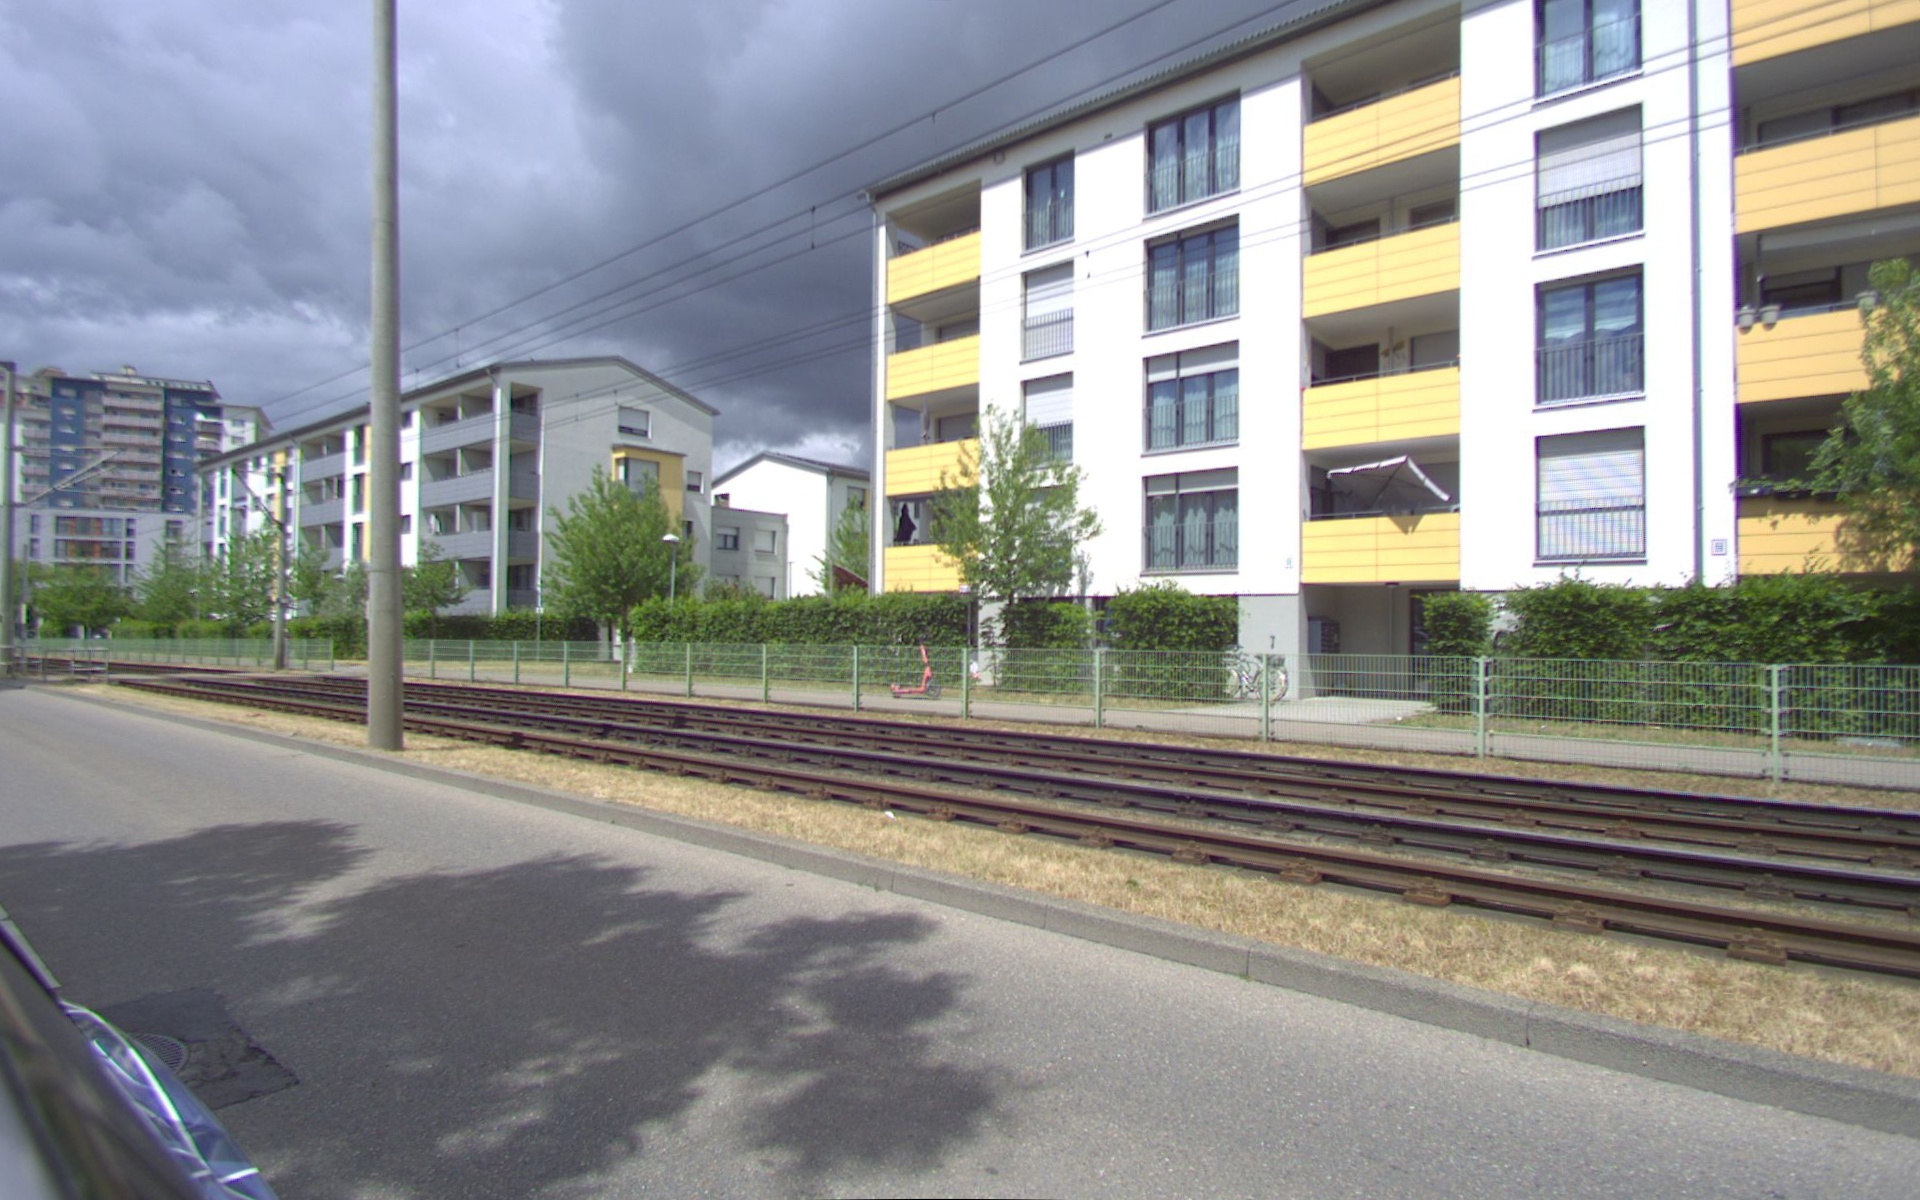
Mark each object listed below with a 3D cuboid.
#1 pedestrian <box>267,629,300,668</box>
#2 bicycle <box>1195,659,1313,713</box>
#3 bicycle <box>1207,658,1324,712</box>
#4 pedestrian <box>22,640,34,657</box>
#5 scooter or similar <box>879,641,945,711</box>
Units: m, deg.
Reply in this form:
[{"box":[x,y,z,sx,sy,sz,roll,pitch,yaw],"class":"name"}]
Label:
[{"box":[-26.659,1.899,39.886,0.994,1.494,0.788,-2,-3,38],"class":"pedestrian"},{"box":[5.763,1.670,19.938,2.212,0.987,0.549,-2,-3,42],"class":"bicycle"},{"box":[6.110,1.679,20.320,2.212,0.987,0.549,-2,-3,42],"class":"bicycle"},{"box":[-93.508,4.848,101.552,0.537,1.666,0.740,-2,-3,38],"class":"pedestrian"},{"box":[-0.949,1.457,19.719,1.301,1.303,0.485,-2,-3,41],"class":"scooter or similar"}]
